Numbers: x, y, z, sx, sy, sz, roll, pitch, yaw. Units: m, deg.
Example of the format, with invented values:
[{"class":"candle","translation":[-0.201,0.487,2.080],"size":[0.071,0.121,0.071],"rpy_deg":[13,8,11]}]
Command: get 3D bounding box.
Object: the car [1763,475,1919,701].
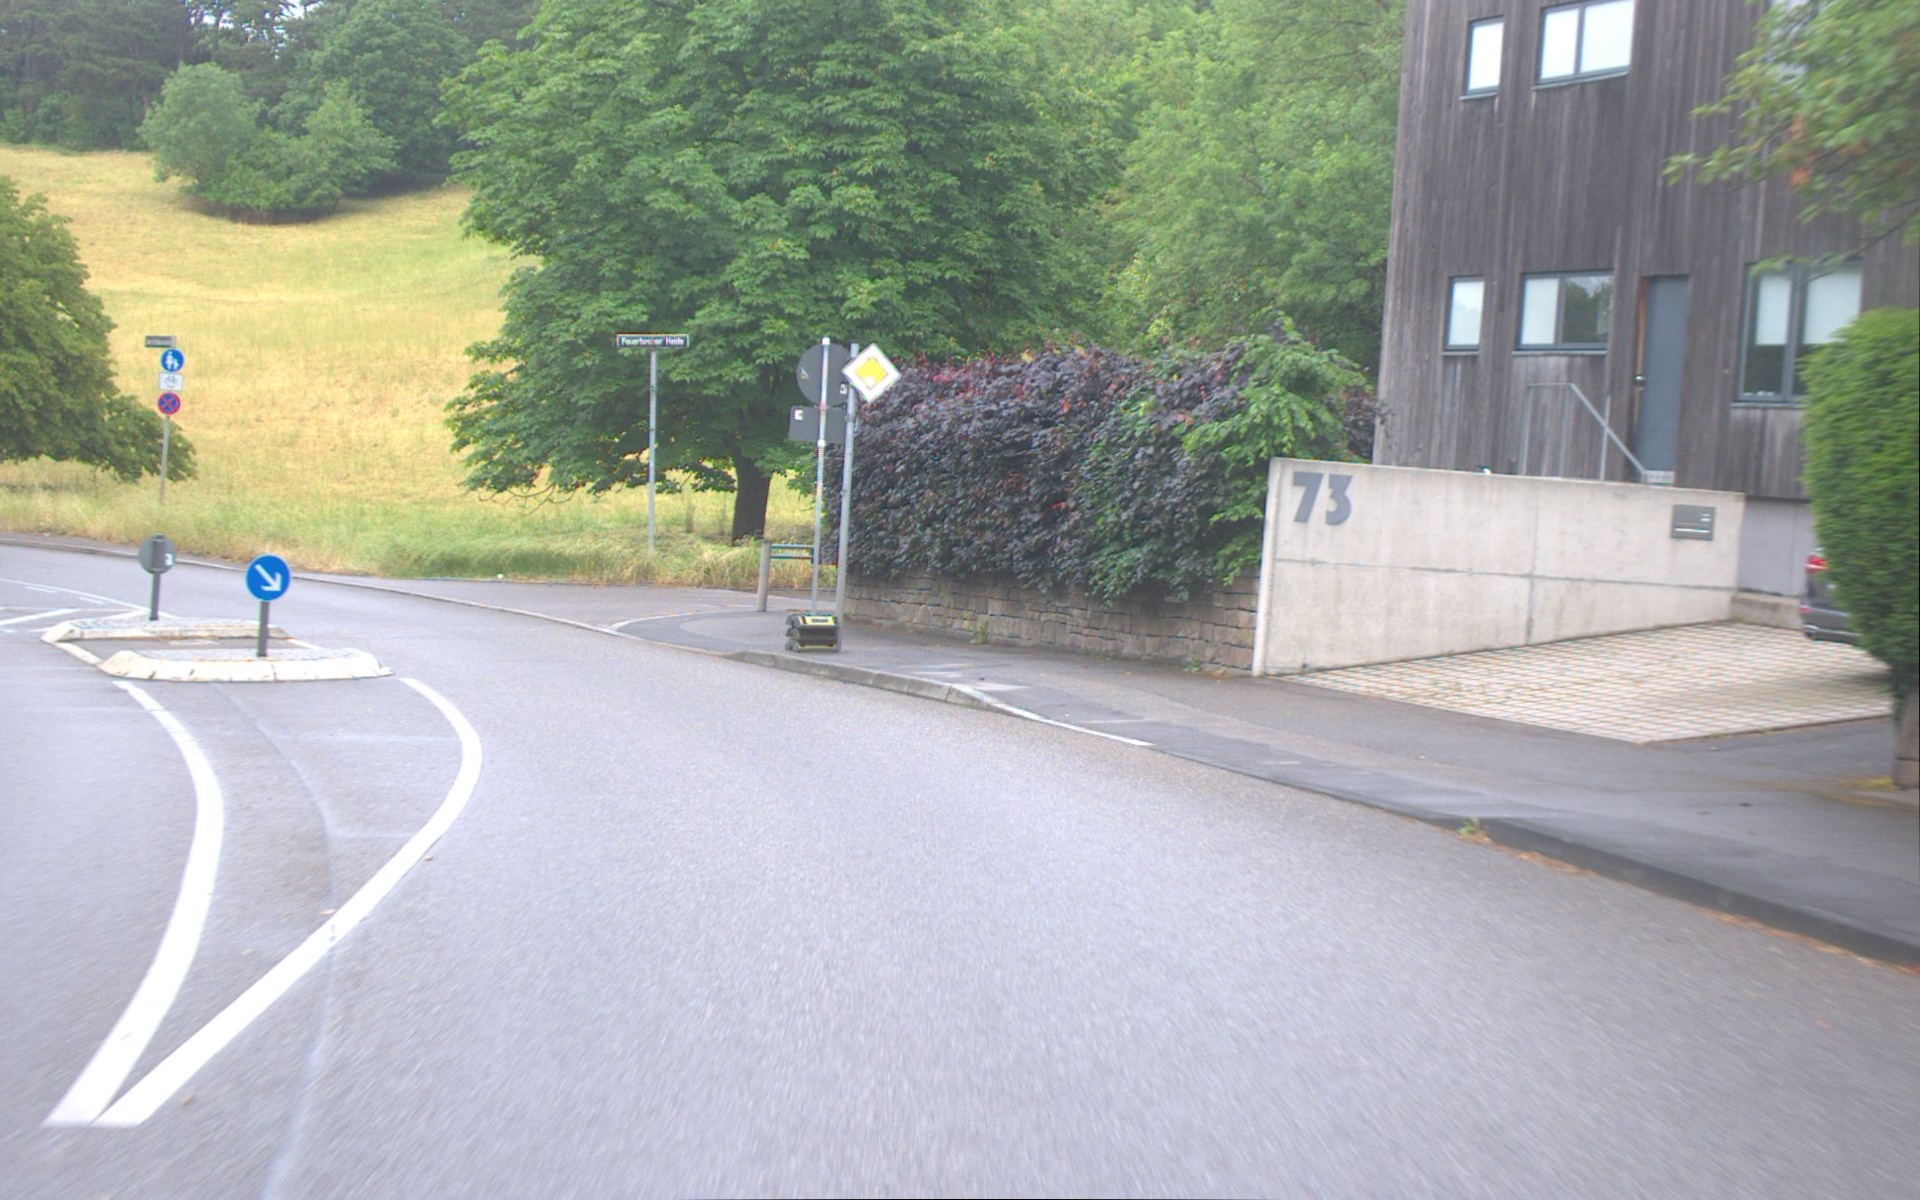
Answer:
[{"class":"car","translation":[8.554,-0.200,25.947],"size":[4.557,1.524,1.810],"rpy_deg":[-3,4,-18]}]
